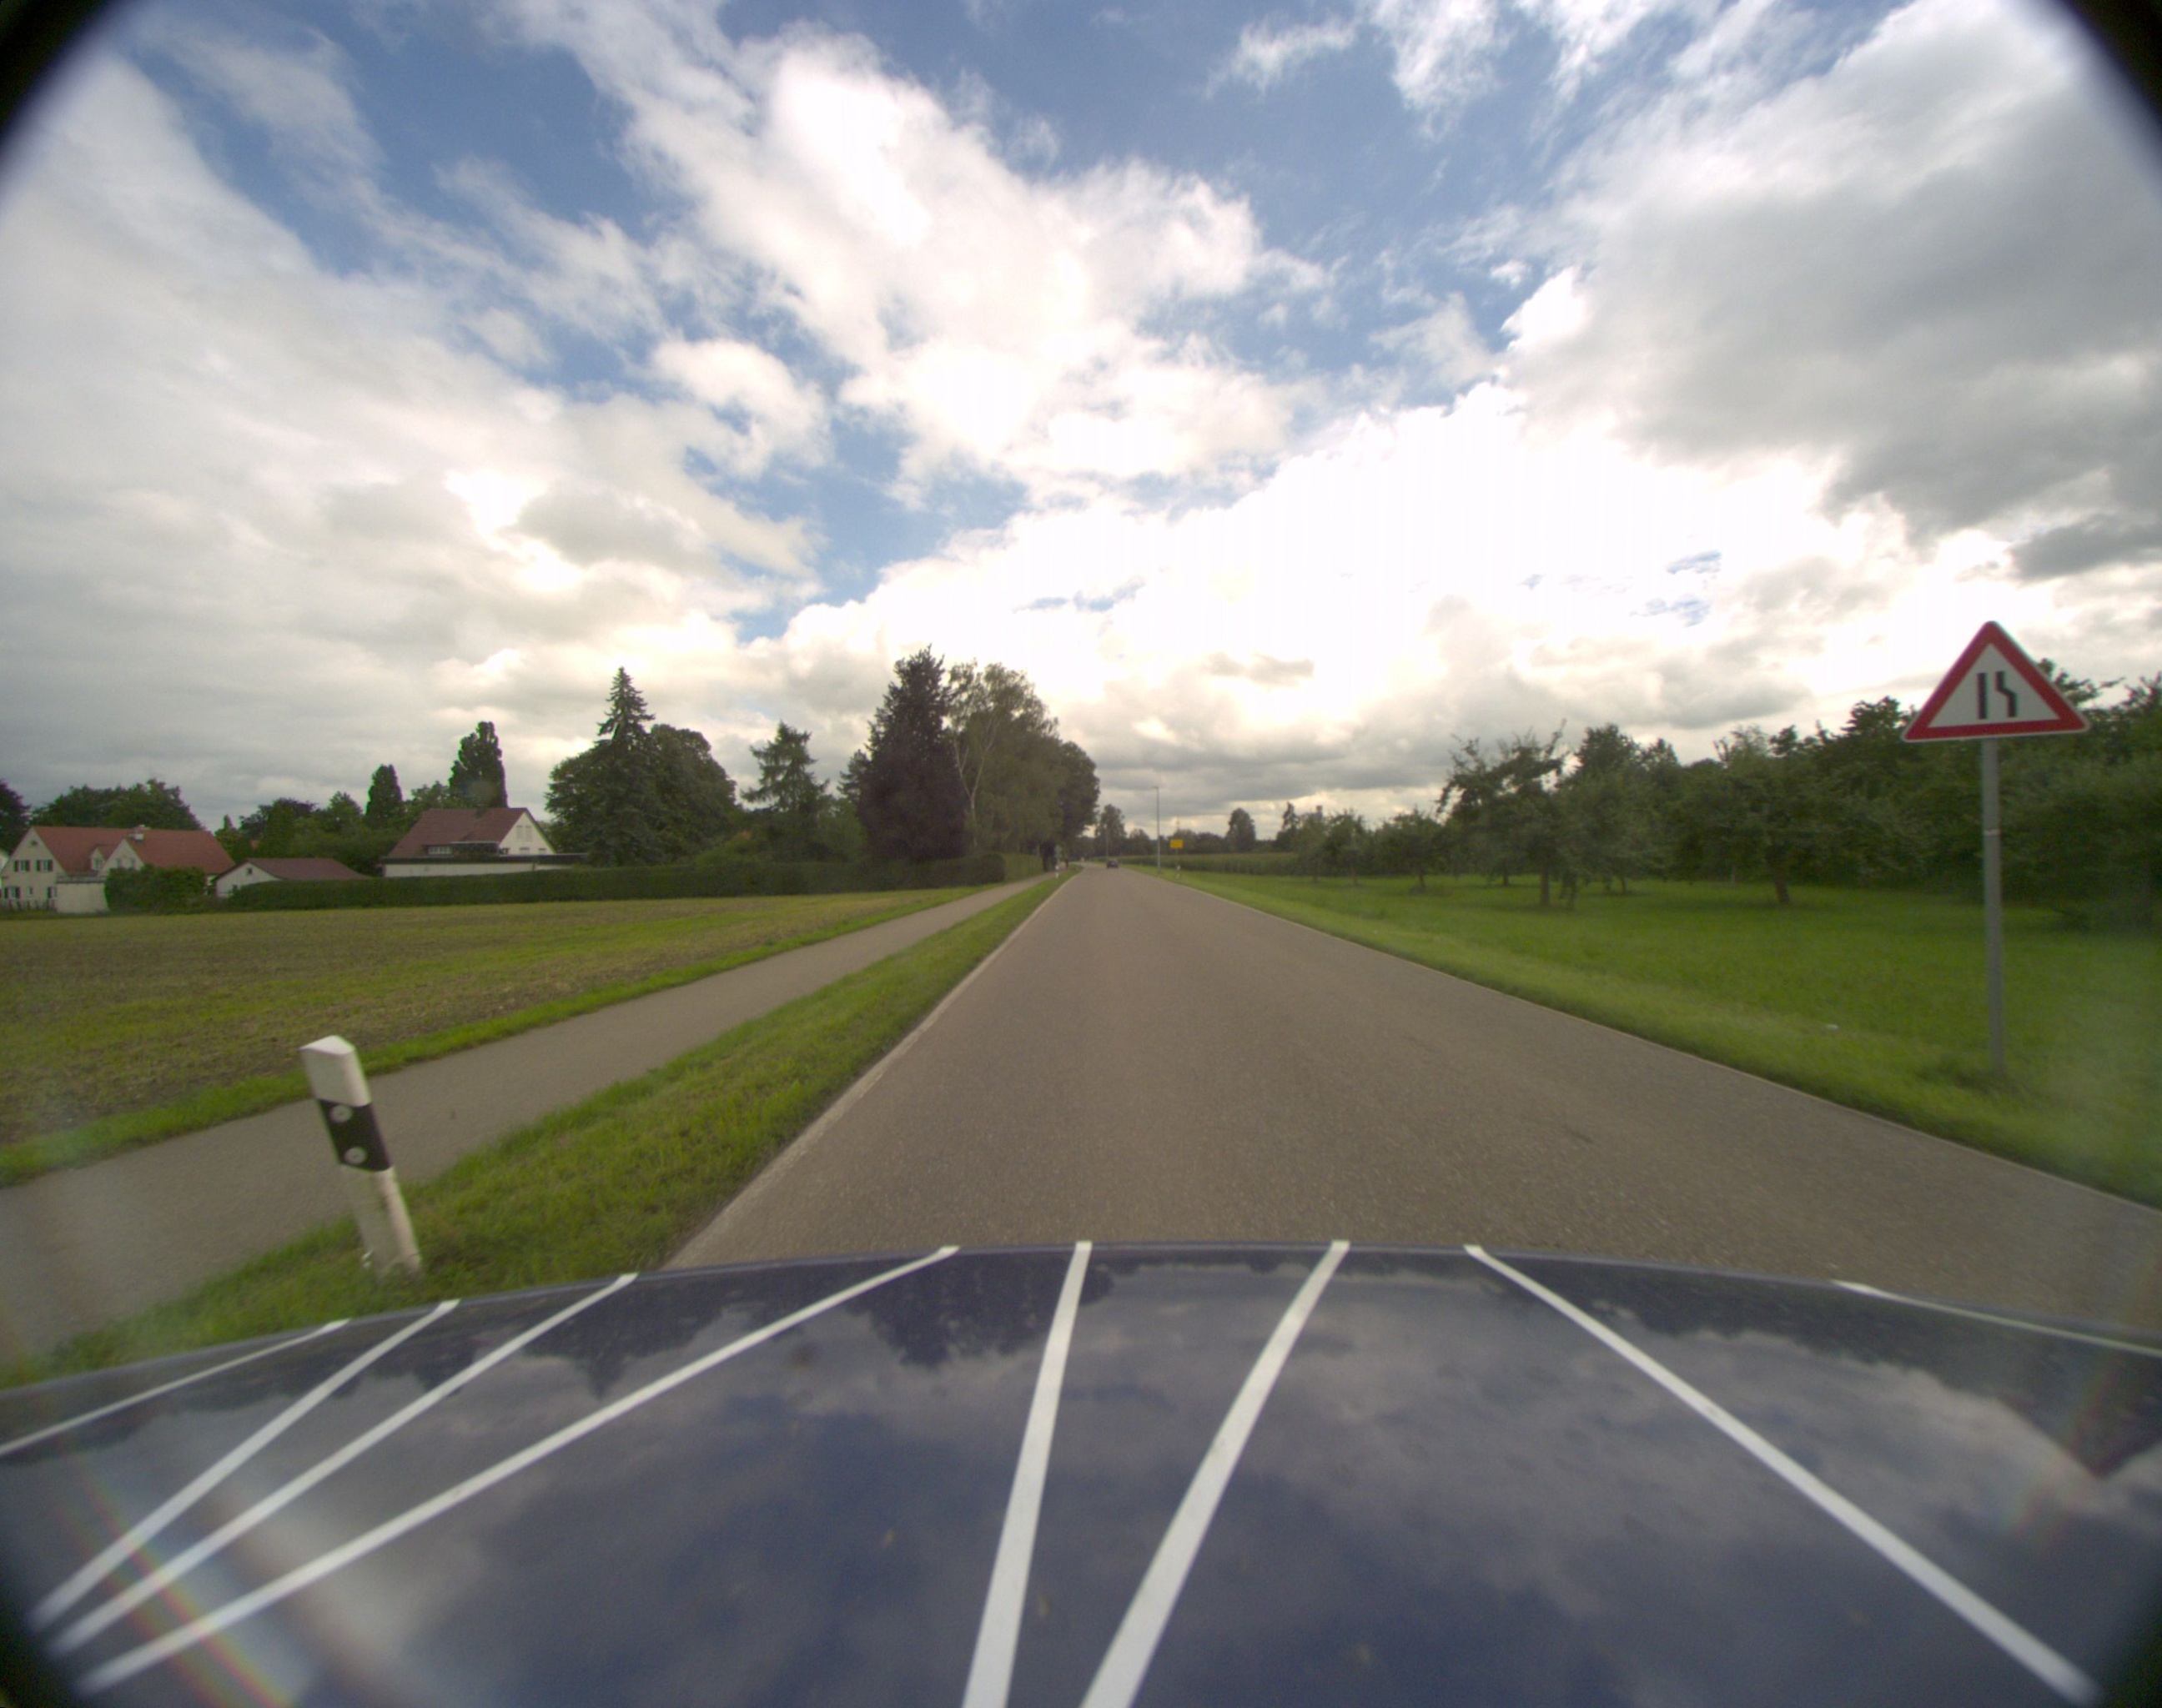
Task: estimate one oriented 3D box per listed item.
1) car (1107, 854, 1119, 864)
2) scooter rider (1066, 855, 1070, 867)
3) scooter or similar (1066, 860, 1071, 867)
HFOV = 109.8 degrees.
[{"bbox_3d":[5.074,0.713,120.587,1.868,1.543,4.182,1,0,1],"label":"car"},{"bbox_3d":[-2.074,1.090,121.629,0.643,1.954,0.786,-2,0,1],"label":"scooter rider"},{"bbox_3d":[-2.052,1.506,121.624,0.650,1.157,1.695,-2,0,1],"label":"scooter or similar"}]
